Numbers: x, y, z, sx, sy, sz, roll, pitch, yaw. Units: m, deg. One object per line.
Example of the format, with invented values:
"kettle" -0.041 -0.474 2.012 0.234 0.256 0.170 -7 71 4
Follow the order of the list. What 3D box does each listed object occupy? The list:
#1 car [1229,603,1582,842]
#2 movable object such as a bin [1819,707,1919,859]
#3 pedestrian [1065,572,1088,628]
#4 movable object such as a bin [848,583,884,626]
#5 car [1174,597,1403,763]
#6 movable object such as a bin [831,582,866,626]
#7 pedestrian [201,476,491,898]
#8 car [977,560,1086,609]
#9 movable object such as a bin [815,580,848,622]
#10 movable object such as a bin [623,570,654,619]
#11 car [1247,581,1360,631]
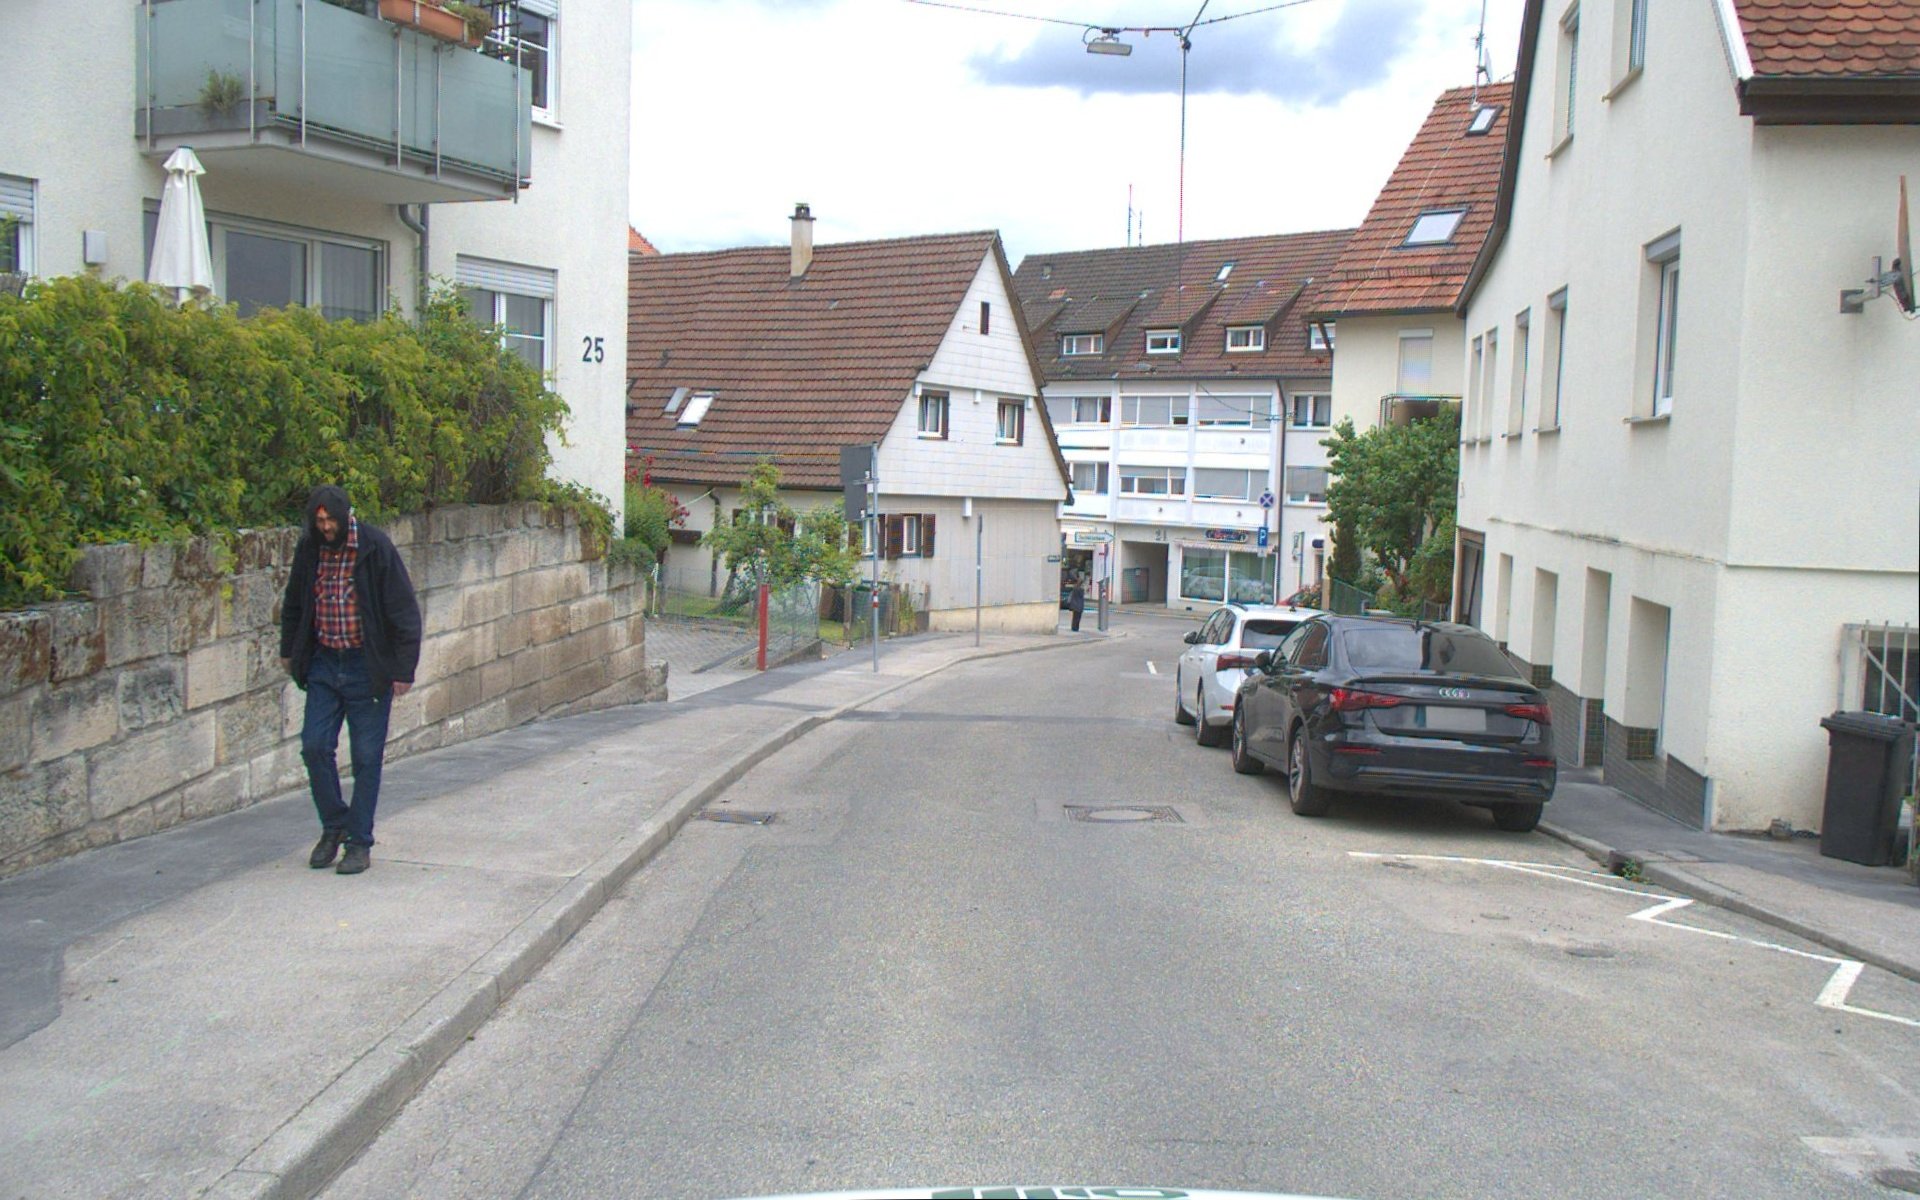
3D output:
"car" 3.280 0.812 12.980 1.639 1.433 4.052 4 0 1
"movable object such as a bin" 5.805 1.150 10.526 0.430 0.881 0.445 1 2 -41
"pedestrian" 3.719 -0.007 52.917 0.633 1.714 0.604 3 2 0
"movable object such as a bin" -2.126 0.108 37.399 0.518 0.899 0.488 7 1 34
"car" 3.441 0.761 18.091 1.757 1.470 4.299 4 0 3
"movable object such as a bin" -2.545 0.090 37.689 0.518 0.932 0.488 7 1 34
"pedestrian" -2.703 0.362 7.402 0.823 1.706 0.976 4 0 -1
"car" 2.938 -0.677 68.398 4.297 1.810 1.933 4 3 45
"movable object such as a bin" -2.954 0.026 38.040 0.486 0.892 0.451 7 1 35
"movable object such as a bin" -6.576 -0.113 33.871 0.390 0.998 0.508 1 0 22
"car" 12.333 0.201 59.492 1.684 1.583 3.637 1 3 -44
